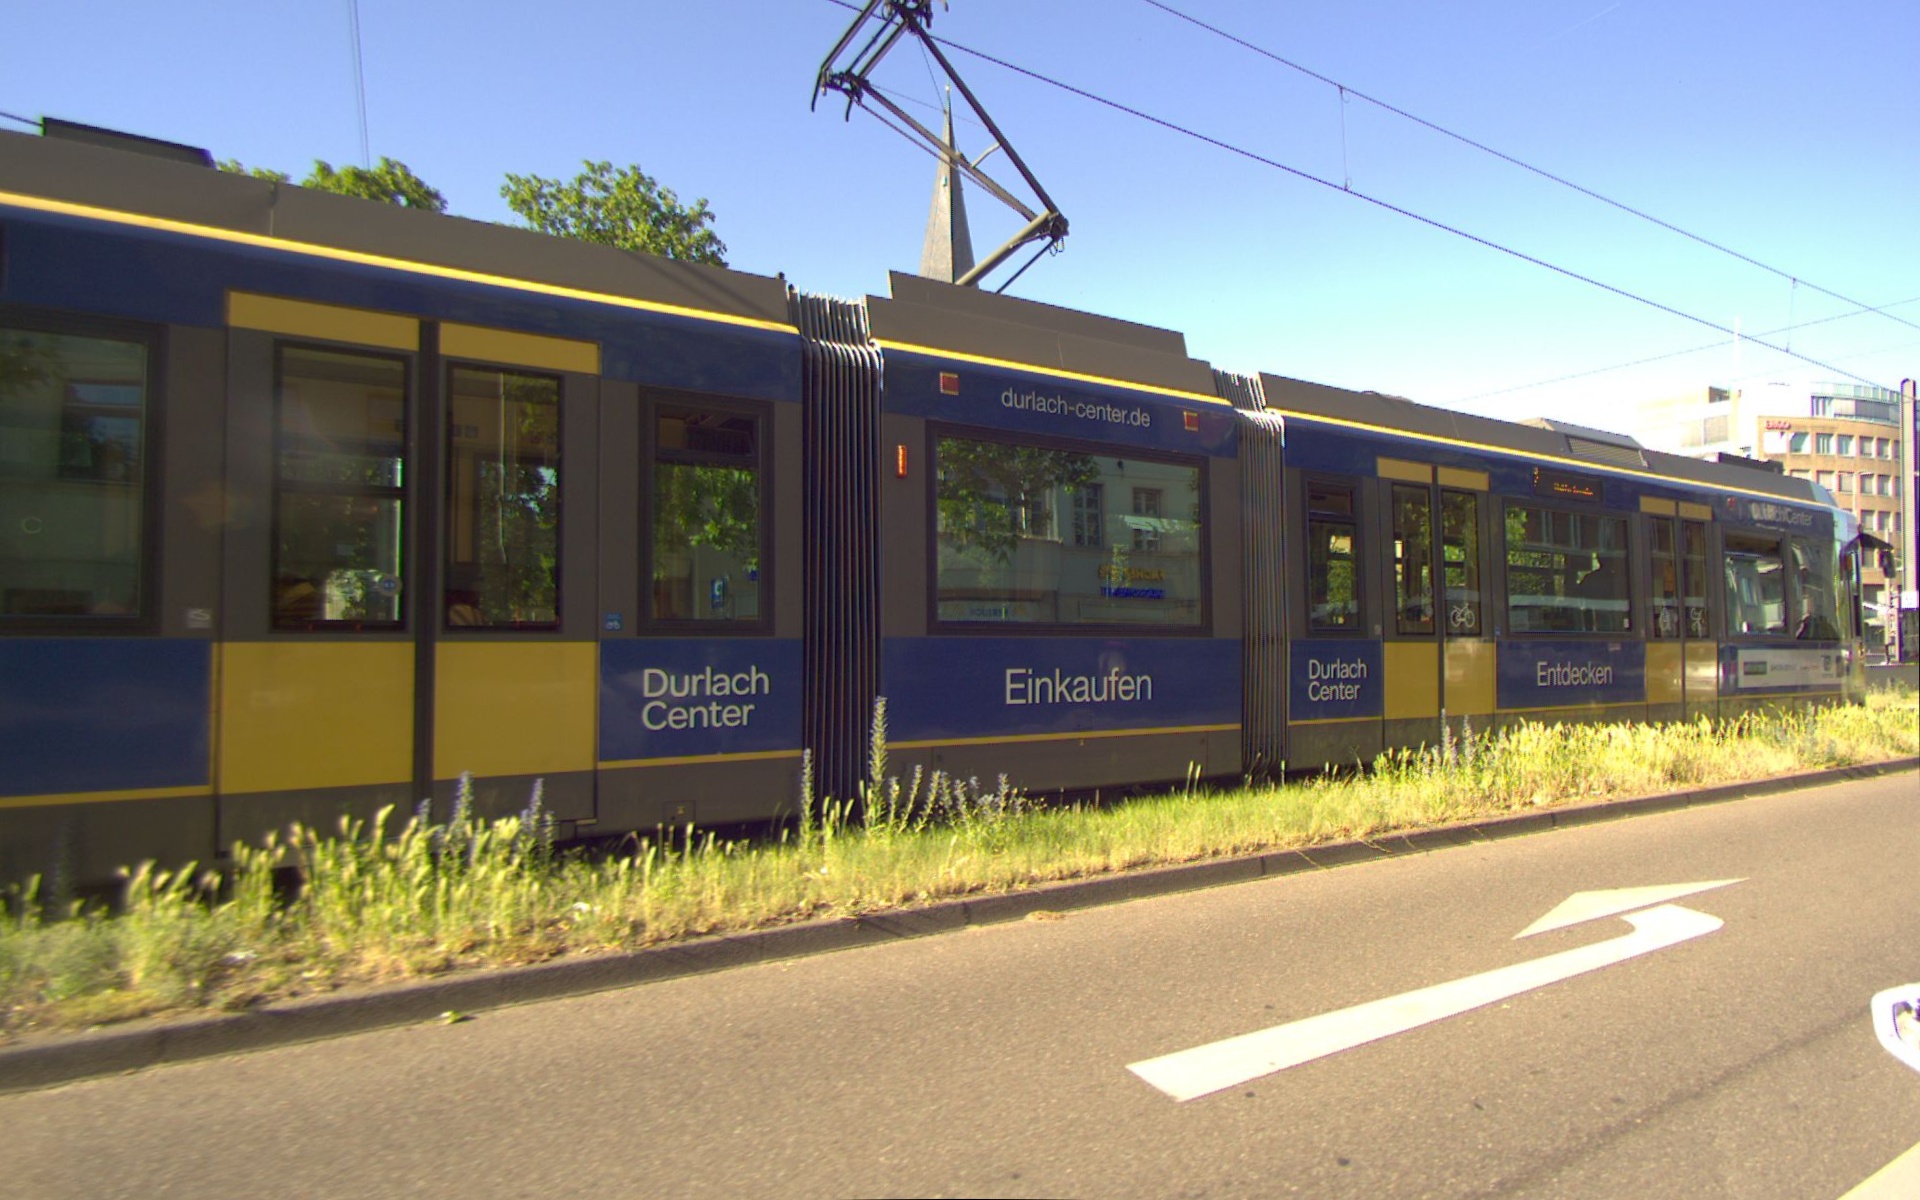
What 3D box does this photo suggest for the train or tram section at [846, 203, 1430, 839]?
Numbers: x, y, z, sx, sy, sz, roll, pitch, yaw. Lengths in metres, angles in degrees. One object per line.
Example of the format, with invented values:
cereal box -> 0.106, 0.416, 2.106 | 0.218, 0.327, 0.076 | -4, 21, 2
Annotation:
train or tram section -> 1.424, -0.457, 8.505 | 3.822, 3.949, 2.940 | 2, 0, -31

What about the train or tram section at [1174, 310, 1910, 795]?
train or tram section -> 7.632, -0.263, 12.220 | 10.680, 3.949, 2.937 | 2, 0, -31

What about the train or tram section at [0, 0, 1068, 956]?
train or tram section -> -6.126, -0.682, 3.852 | 14.112, 3.863, 2.913 | 2, 0, -32
